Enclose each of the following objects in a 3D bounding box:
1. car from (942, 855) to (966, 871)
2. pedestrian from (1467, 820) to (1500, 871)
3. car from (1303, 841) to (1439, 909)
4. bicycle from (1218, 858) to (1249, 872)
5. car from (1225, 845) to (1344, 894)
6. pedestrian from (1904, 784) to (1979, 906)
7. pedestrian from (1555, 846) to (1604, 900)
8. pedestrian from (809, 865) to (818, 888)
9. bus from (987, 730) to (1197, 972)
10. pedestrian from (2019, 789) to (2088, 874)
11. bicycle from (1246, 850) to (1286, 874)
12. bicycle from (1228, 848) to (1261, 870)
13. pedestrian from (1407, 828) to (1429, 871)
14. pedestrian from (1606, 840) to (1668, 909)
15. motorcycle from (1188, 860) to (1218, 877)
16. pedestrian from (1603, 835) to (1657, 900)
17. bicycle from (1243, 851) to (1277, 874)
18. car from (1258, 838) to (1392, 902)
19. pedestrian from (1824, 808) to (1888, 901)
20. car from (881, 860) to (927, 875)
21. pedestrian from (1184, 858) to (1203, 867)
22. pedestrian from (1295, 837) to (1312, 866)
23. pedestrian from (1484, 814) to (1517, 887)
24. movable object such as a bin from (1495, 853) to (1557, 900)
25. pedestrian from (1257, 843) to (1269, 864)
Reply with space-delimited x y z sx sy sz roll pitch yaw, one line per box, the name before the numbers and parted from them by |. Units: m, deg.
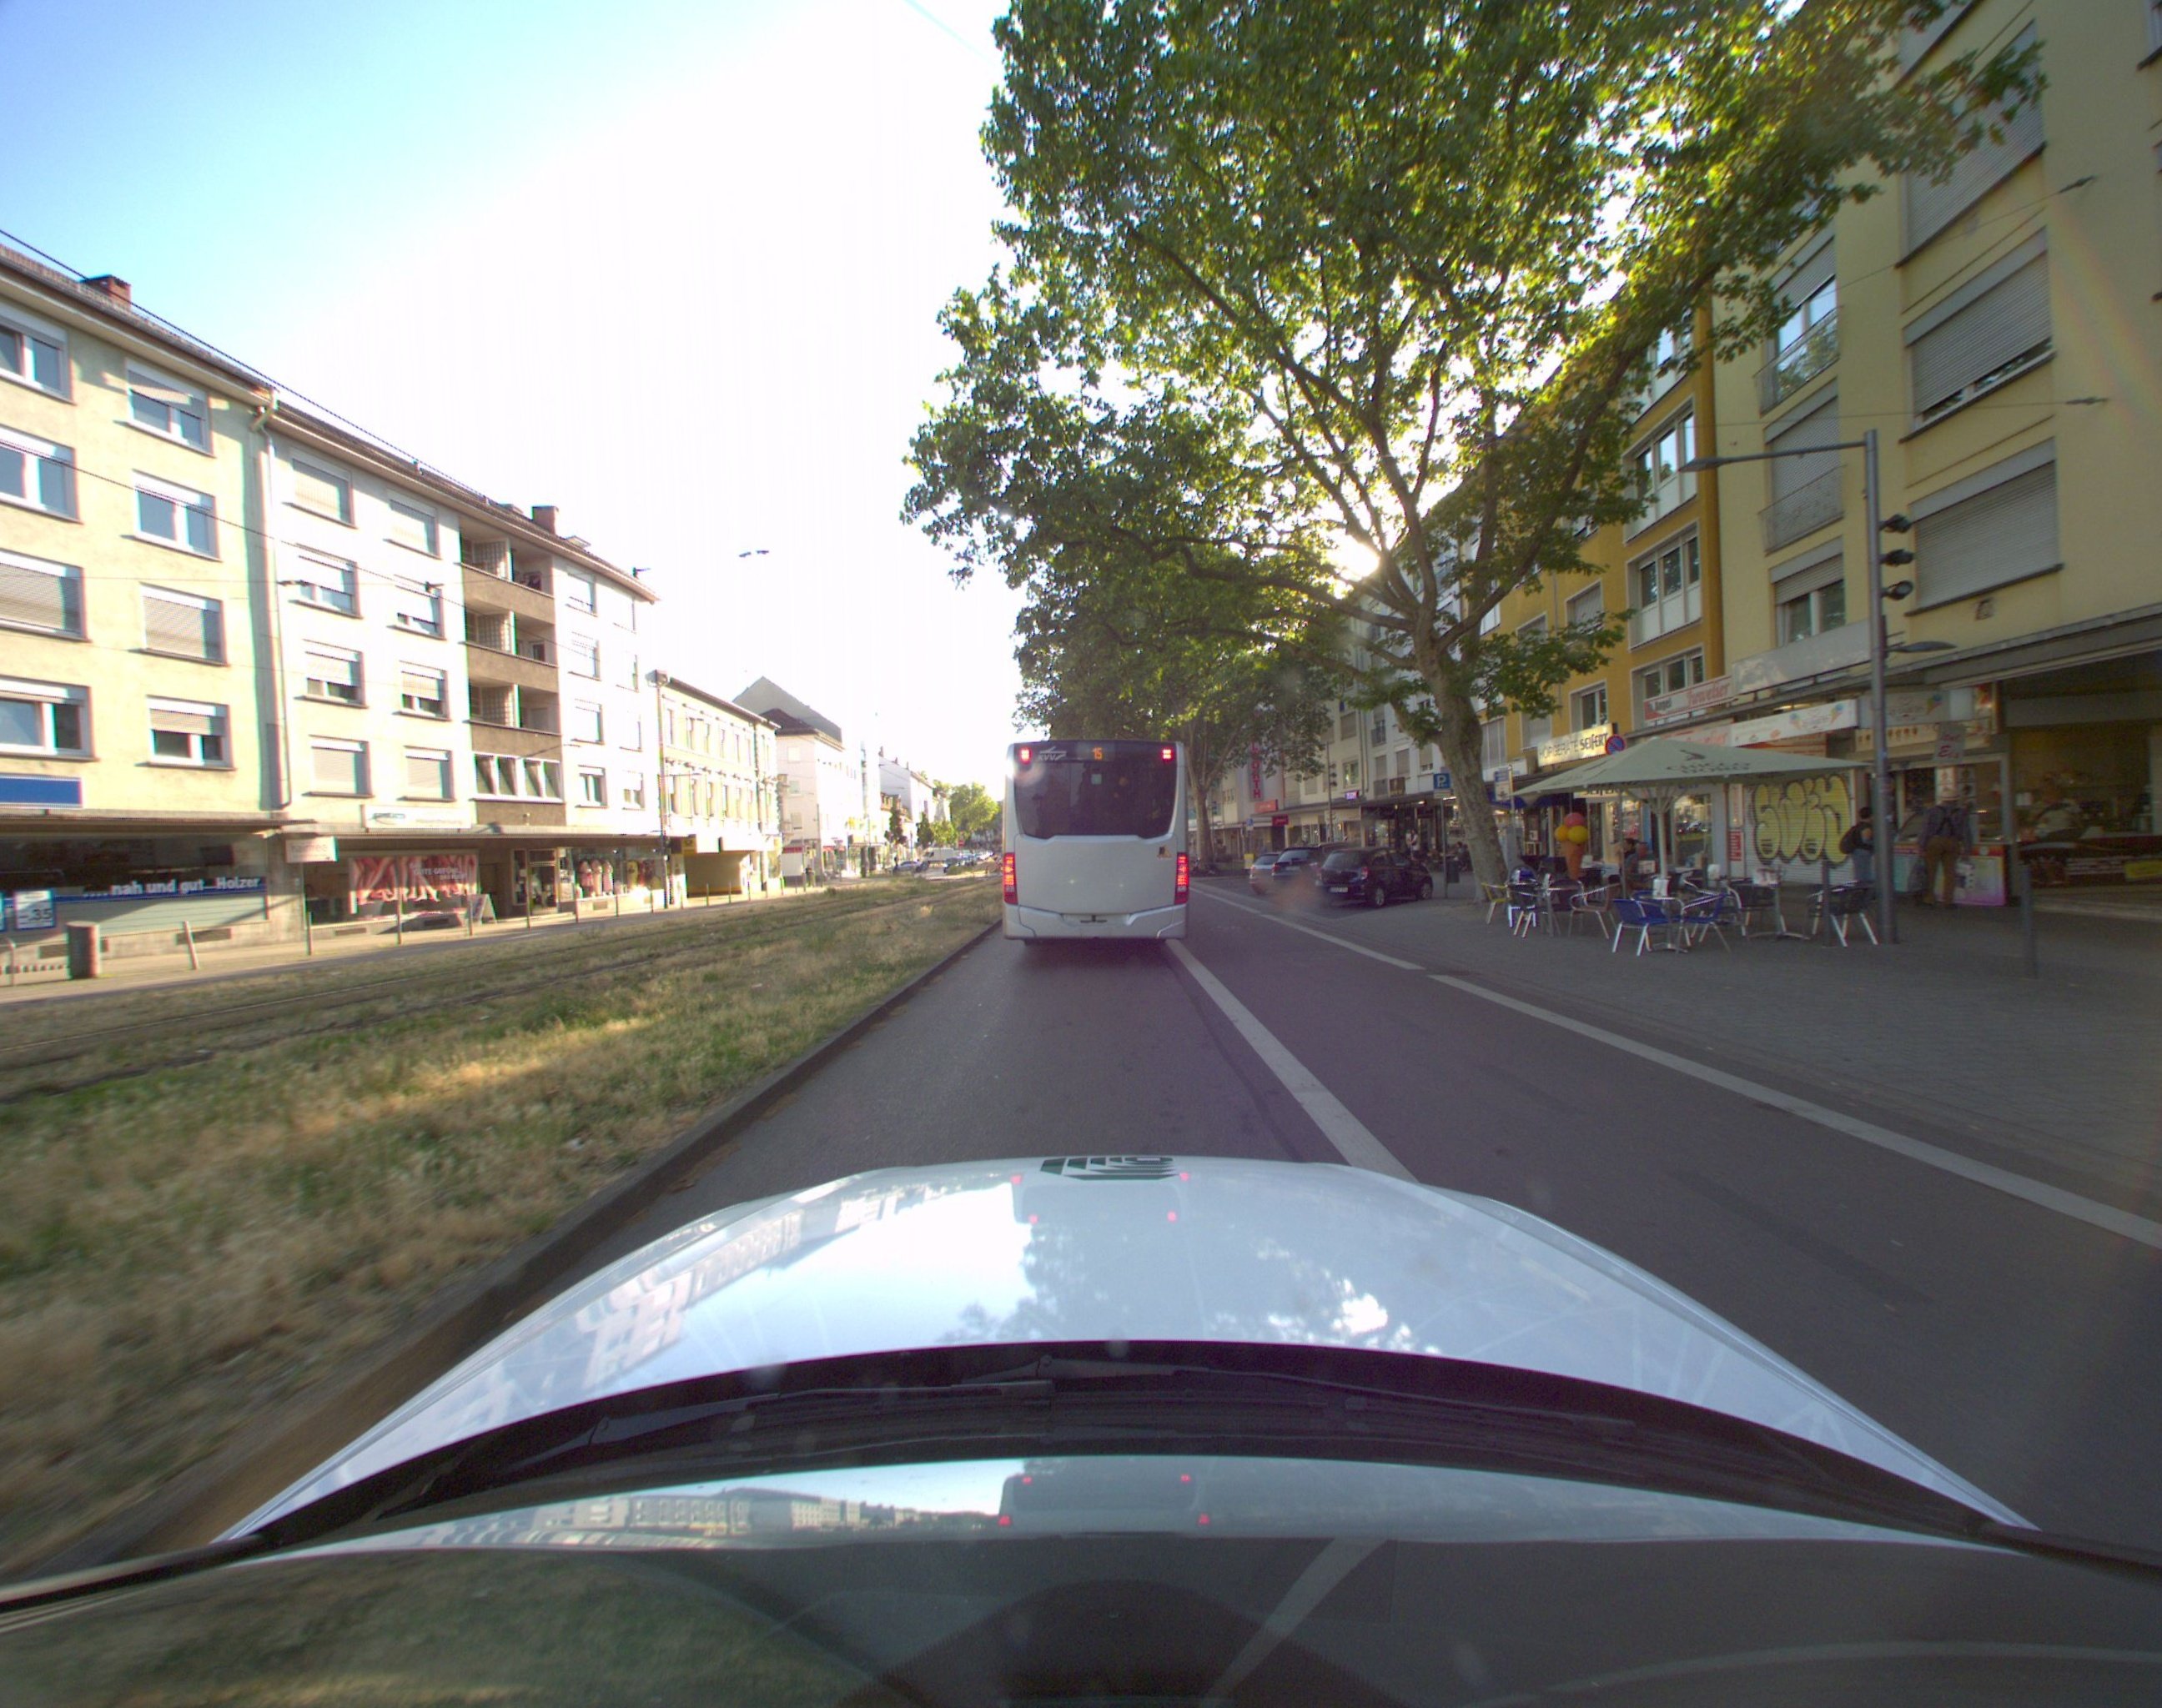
car | -12.980 0.918 83.628 1.716 1.509 3.477 -5 0 2
pedestrian | 14.839 -0.326 30.045 0.703 1.791 0.789 -6 0 6
car | 7.644 0.500 21.344 3.627 1.540 1.721 -3 0 -40
bicycle | 9.470 0.677 50.738 1.865 0.765 0.713 -3 2 9
car | 7.226 0.523 28.791 4.197 1.451 1.789 -3 0 -37
pedestrian | 13.105 -0.129 12.422 0.629 1.804 0.631 -3 0 36
pedestrian | 10.568 0.397 17.294 0.581 1.115 0.751 -1 0 1
pedestrian | -20.672 1.739 62.932 0.424 1.713 0.508 -3 0 5
bus | 0.259 -0.064 14.160 2.668 3.083 7.117 -1 0 2
pedestrian | 15.355 -0.353 12.868 0.424 1.296 0.508 -3 0 5
bicycle | 10.701 0.450 47.165 2.070 1.233 0.832 -3 0 5
bicycle | 9.954 0.298 49.536 1.865 1.189 0.713 -4 0 9
pedestrian | 15.164 -0.198 36.663 0.639 1.876 0.826 -3 0 9
pedestrian | 10.191 0.364 14.945 0.603 1.225 0.745 -2 0 1
motorcycle | 6.922 0.812 46.280 1.566 0.892 0.544 -3 0 -3
pedestrian | 11.143 0.267 16.550 0.581 1.275 0.759 -1 0 1
bicycle | 10.654 0.498 48.459 1.784 1.189 0.670 -5 -1 -8
car | 7.381 0.437 24.454 4.173 1.681 1.788 -3 0 -40
pedestrian | 13.289 0.012 13.975 0.618 1.546 0.641 -3 0 31
car | -19.685 1.492 90.583 4.572 1.412 1.978 -3 0 -36
pedestrian | 7.917 0.608 57.470 1.250 0.589 0.482 -2 0 -2
pedestrian | 14.000 -0.137 51.182 0.777 1.794 0.764 -3 0 1
pedestrian | 10.767 -0.091 20.912 0.517 1.832 0.471 -3 0 -21
movable object such as a bin | 10.113 0.492 18.517 0.929 1.023 0.834 -1 0 -21
pedestrian | 15.021 -0.020 67.187 0.746 1.679 0.833 -3 2 -6
